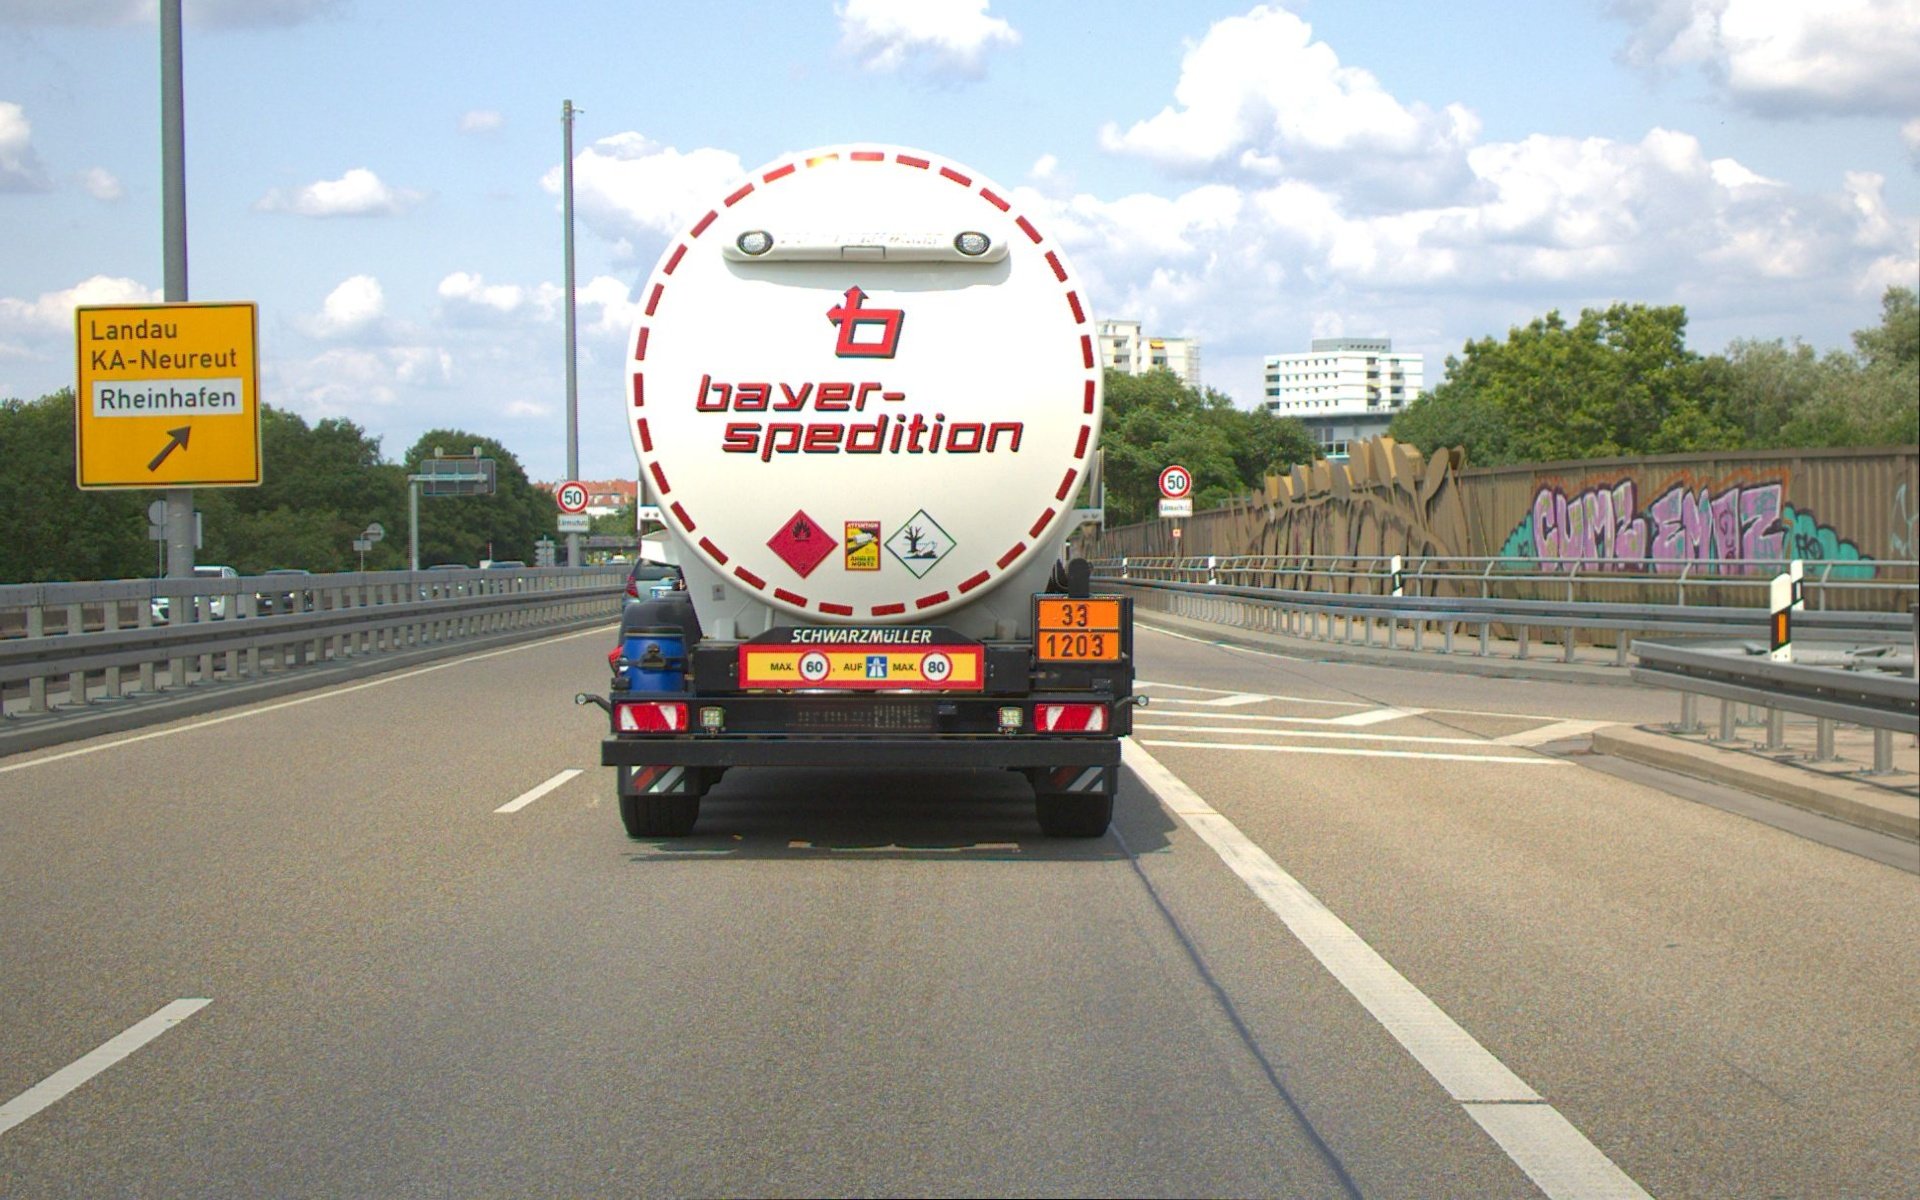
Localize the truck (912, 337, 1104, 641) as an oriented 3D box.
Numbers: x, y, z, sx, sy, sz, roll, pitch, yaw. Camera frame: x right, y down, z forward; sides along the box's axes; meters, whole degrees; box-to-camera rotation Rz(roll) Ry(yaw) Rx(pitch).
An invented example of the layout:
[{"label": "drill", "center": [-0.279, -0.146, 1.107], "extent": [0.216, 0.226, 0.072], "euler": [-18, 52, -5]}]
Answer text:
[{"label": "truck", "center": [0.708, -1.826, 58.726], "extent": [2.895, 4.791, 8.030], "euler": [1, 1, -1]}]

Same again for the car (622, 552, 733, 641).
[{"label": "car", "center": [-5.063, -0.092, 61.995], "extent": [1.747, 1.526, 4.000], "euler": [0, 1, -1]}]

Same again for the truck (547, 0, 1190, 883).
[{"label": "truck", "center": [-0.510, -0.951, 19.806], "extent": [2.895, 4.354, 8.030], "euler": [1, 1, -1]}]

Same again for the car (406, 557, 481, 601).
[{"label": "car", "center": [-17.240, -0.719, 114.968], "extent": [1.777, 1.415, 4.621], "euler": [0, 1, 0]}]

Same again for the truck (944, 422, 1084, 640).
[{"label": "truck", "center": [1.193, -1.593, 80.557], "extent": [2.895, 4.791, 8.030], "euler": [1, 1, -1]}]

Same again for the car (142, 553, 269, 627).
[{"label": "car", "center": [-16.873, -0.246, 77.074], "extent": [1.797, 1.590, 4.712], "euler": [0, 1, 0]}]
